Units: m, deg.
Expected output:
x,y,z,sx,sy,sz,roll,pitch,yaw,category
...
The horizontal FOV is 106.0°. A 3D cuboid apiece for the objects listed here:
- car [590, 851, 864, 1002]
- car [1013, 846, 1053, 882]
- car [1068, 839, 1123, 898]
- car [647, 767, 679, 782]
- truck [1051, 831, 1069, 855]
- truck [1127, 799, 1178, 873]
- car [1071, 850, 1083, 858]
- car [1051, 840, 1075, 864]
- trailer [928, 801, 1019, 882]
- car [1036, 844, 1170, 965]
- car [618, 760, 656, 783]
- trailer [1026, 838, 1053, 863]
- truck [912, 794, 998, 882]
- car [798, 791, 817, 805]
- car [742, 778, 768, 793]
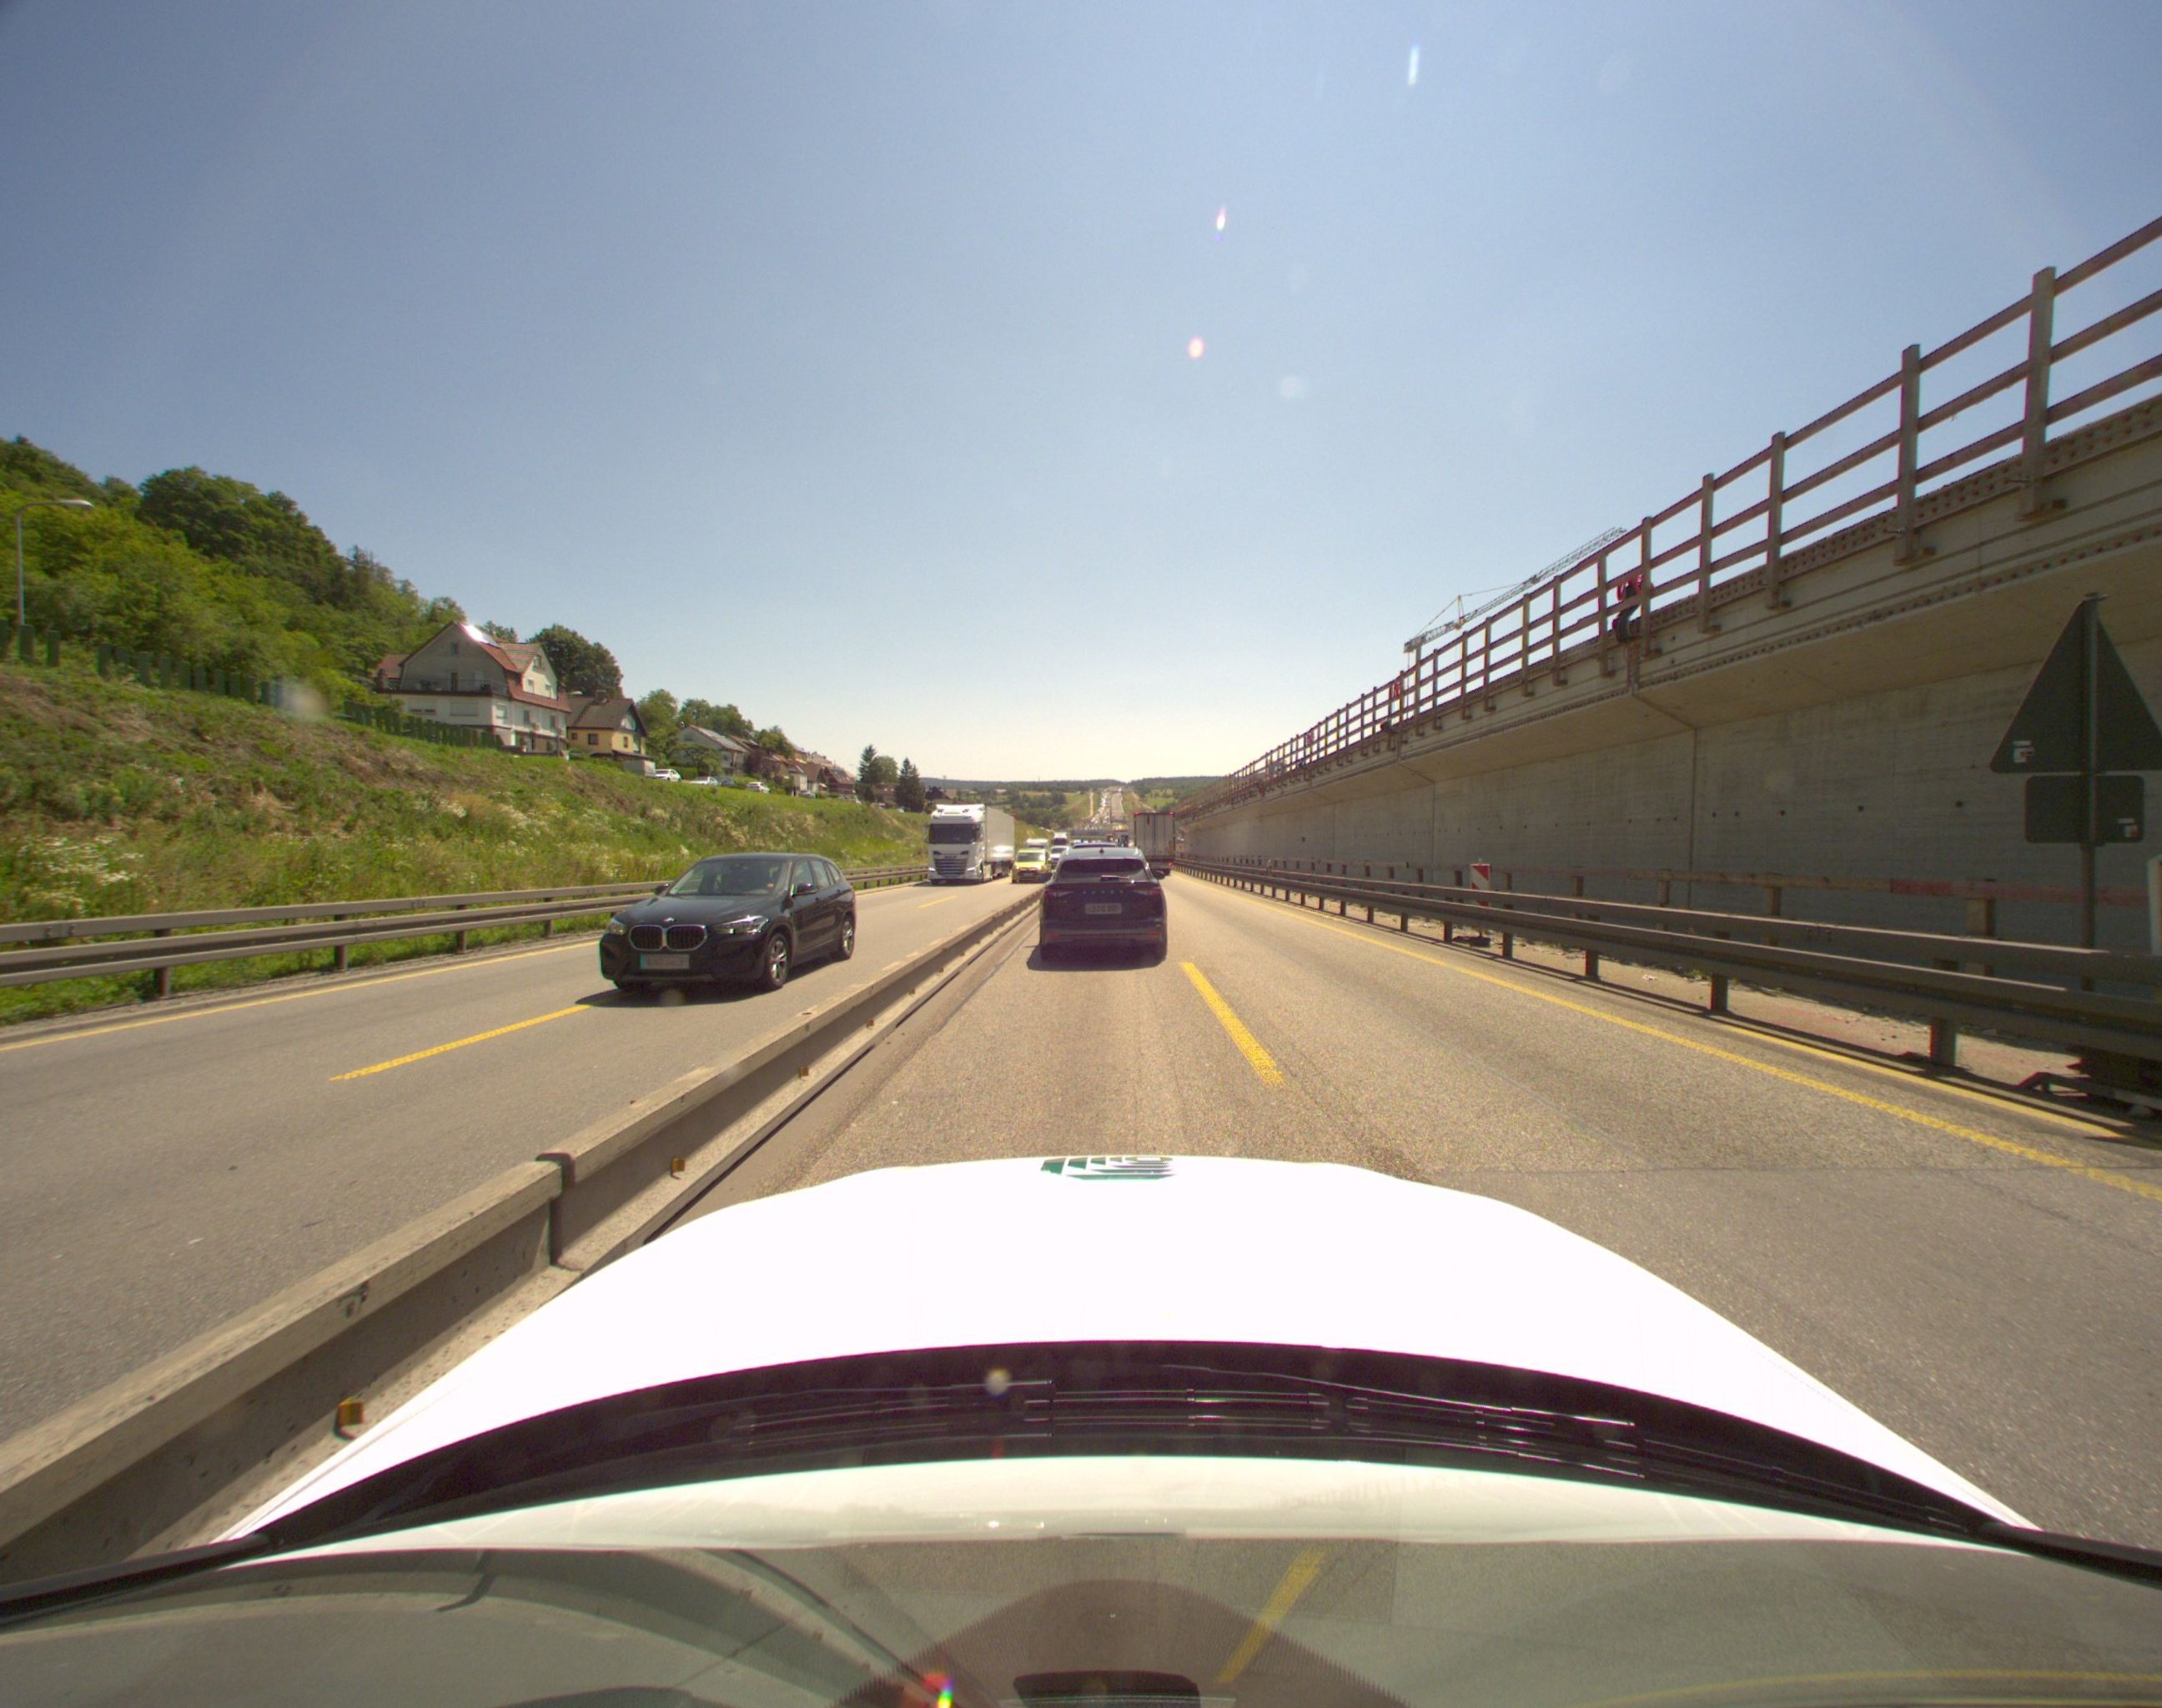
x,y,z,sx,sy,sz,roll,pitch,yaw,category
-4.223,0.748,10.512,1.694,1.561,4.103,0,0,1,car
-2.508,0.480,43.165,1.769,1.820,4.434,0,0,1,car
0.455,0.496,28.835,1.744,1.895,3.753,2,0,-1,car
-35.611,-6.768,69.462,1.278,1.039,3.269,0,0,-5,car
-3.737,-1.965,147.538,2.742,4.227,8.104,-1,0,2,truck
4.819,-1.060,57.052,2.835,4.615,11.814,1,-1,2,truck
-0.602,0.004,126.606,1.765,1.288,4.002,1,-1,2,car
-1.529,-0.132,70.319,1.856,2.014,4.806,0,-1,1,car
-6.097,-0.656,48.923,3.208,4.158,13.413,0,0,2,trailer
0.297,0.676,12.674,1.777,1.597,3.754,0,0,0,car
-35.377,-6.558,64.939,1.730,1.398,3.782,2,0,-15,car
-4.629,-0.346,91.802,2.475,2.613,5.870,-1,-1,2,trailer
-6.353,-0.733,42.098,3.168,4.238,6.488,0,-1,2,truck
-39.099,-8.001,116.461,1.925,1.728,3.987,0,0,-9,car
-38.639,-8.099,96.597,1.993,1.319,3.987,3,-1,-10,car
